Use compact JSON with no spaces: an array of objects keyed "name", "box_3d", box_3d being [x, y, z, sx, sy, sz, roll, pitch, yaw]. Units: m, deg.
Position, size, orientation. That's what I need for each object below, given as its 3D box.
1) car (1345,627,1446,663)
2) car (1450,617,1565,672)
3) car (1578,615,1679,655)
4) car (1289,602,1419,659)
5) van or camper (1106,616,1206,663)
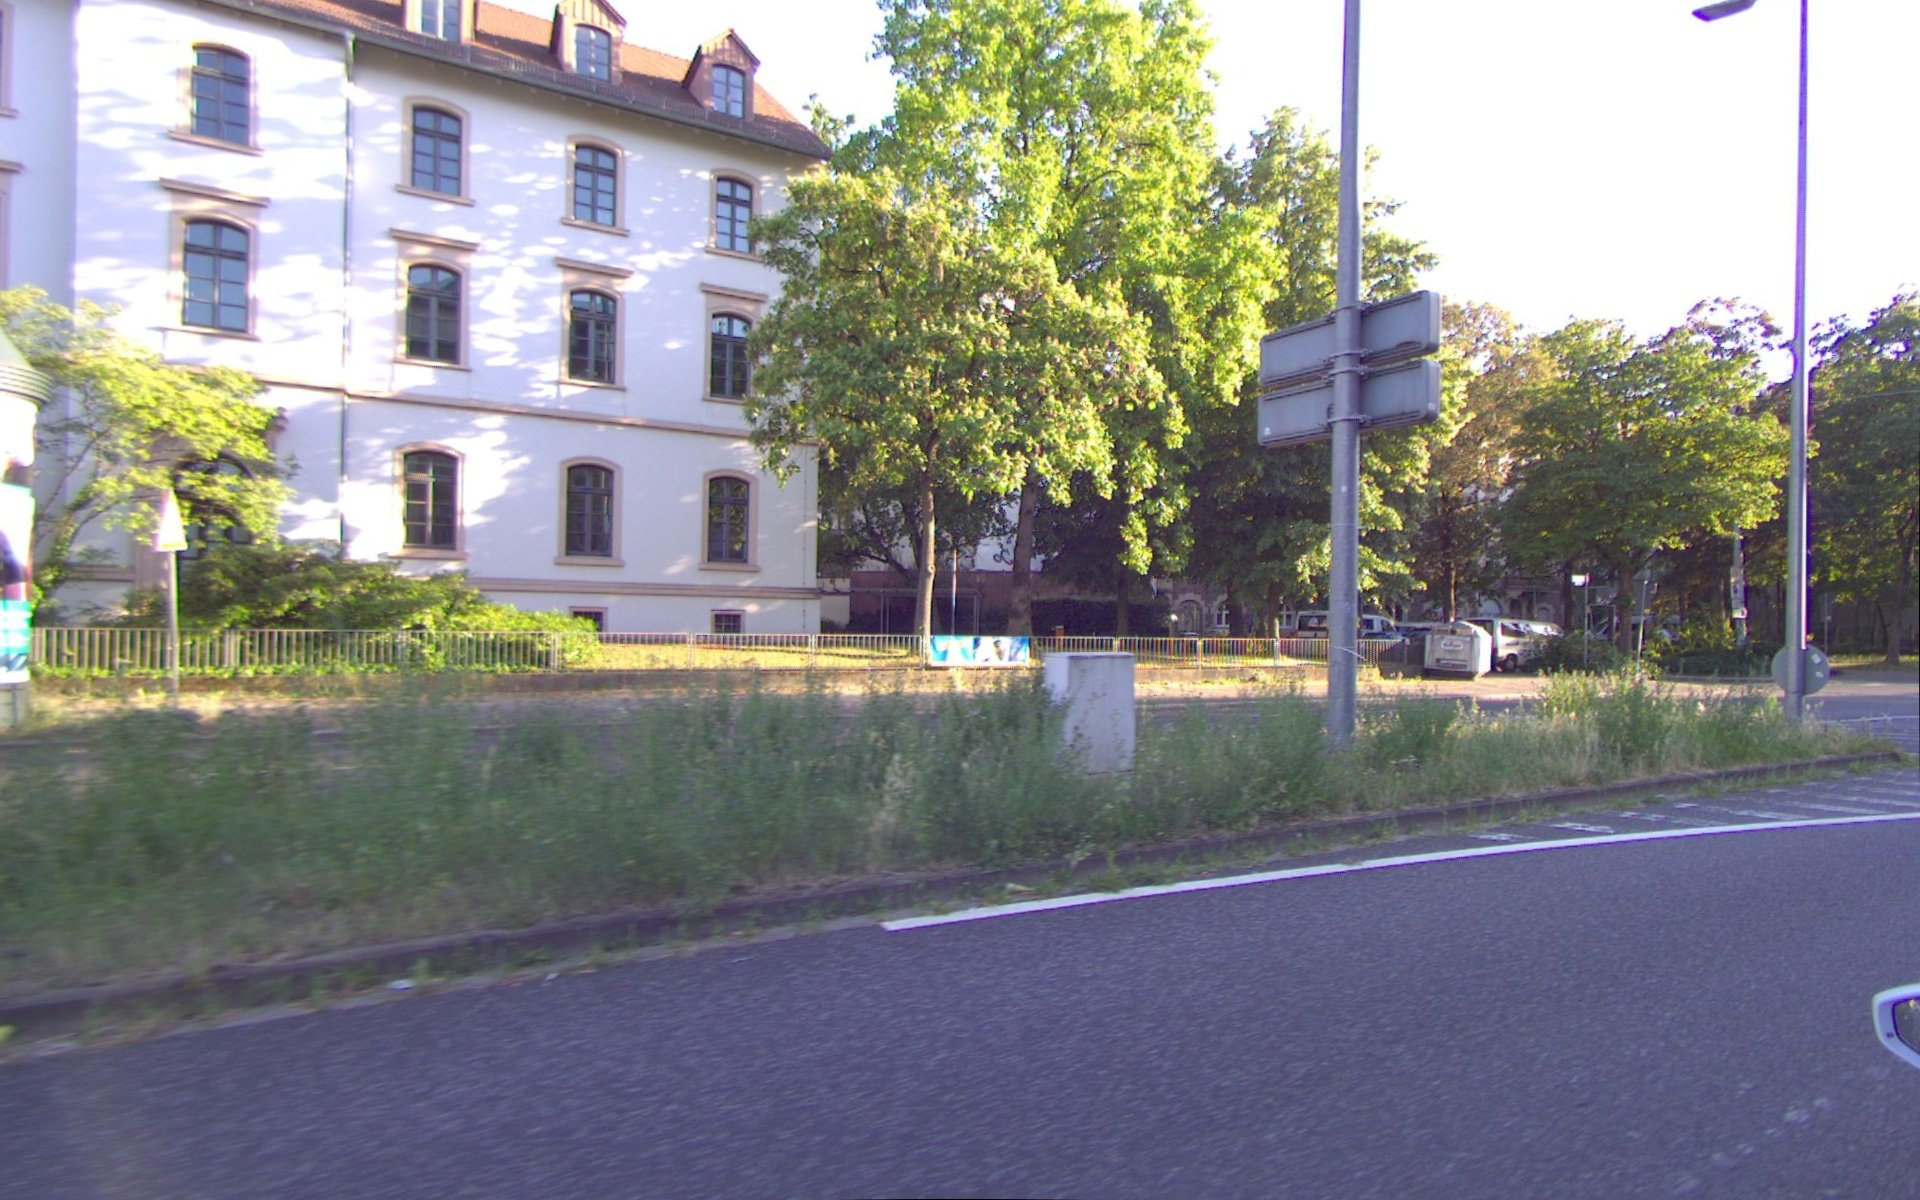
[{"name":"car","box_3d":[17.511,1.808,40.362,3.953,1.350,1.724,2,-1,-30]},{"name":"car","box_3d":[19.446,1.566,35.658,3.953,1.819,1.810,2,-1,-30]},{"name":"car","box_3d":[44.609,2.326,67.134,5.128,2.518,2.275,1,-1,9]},{"name":"car","box_3d":[16.746,1.288,42.653,5.026,2.319,2.210,1,0,-23]},{"name":"van or camper","box_3d":[10.950,2.210,56.047,5.358,2.504,2.058,2,0,-27]}]
